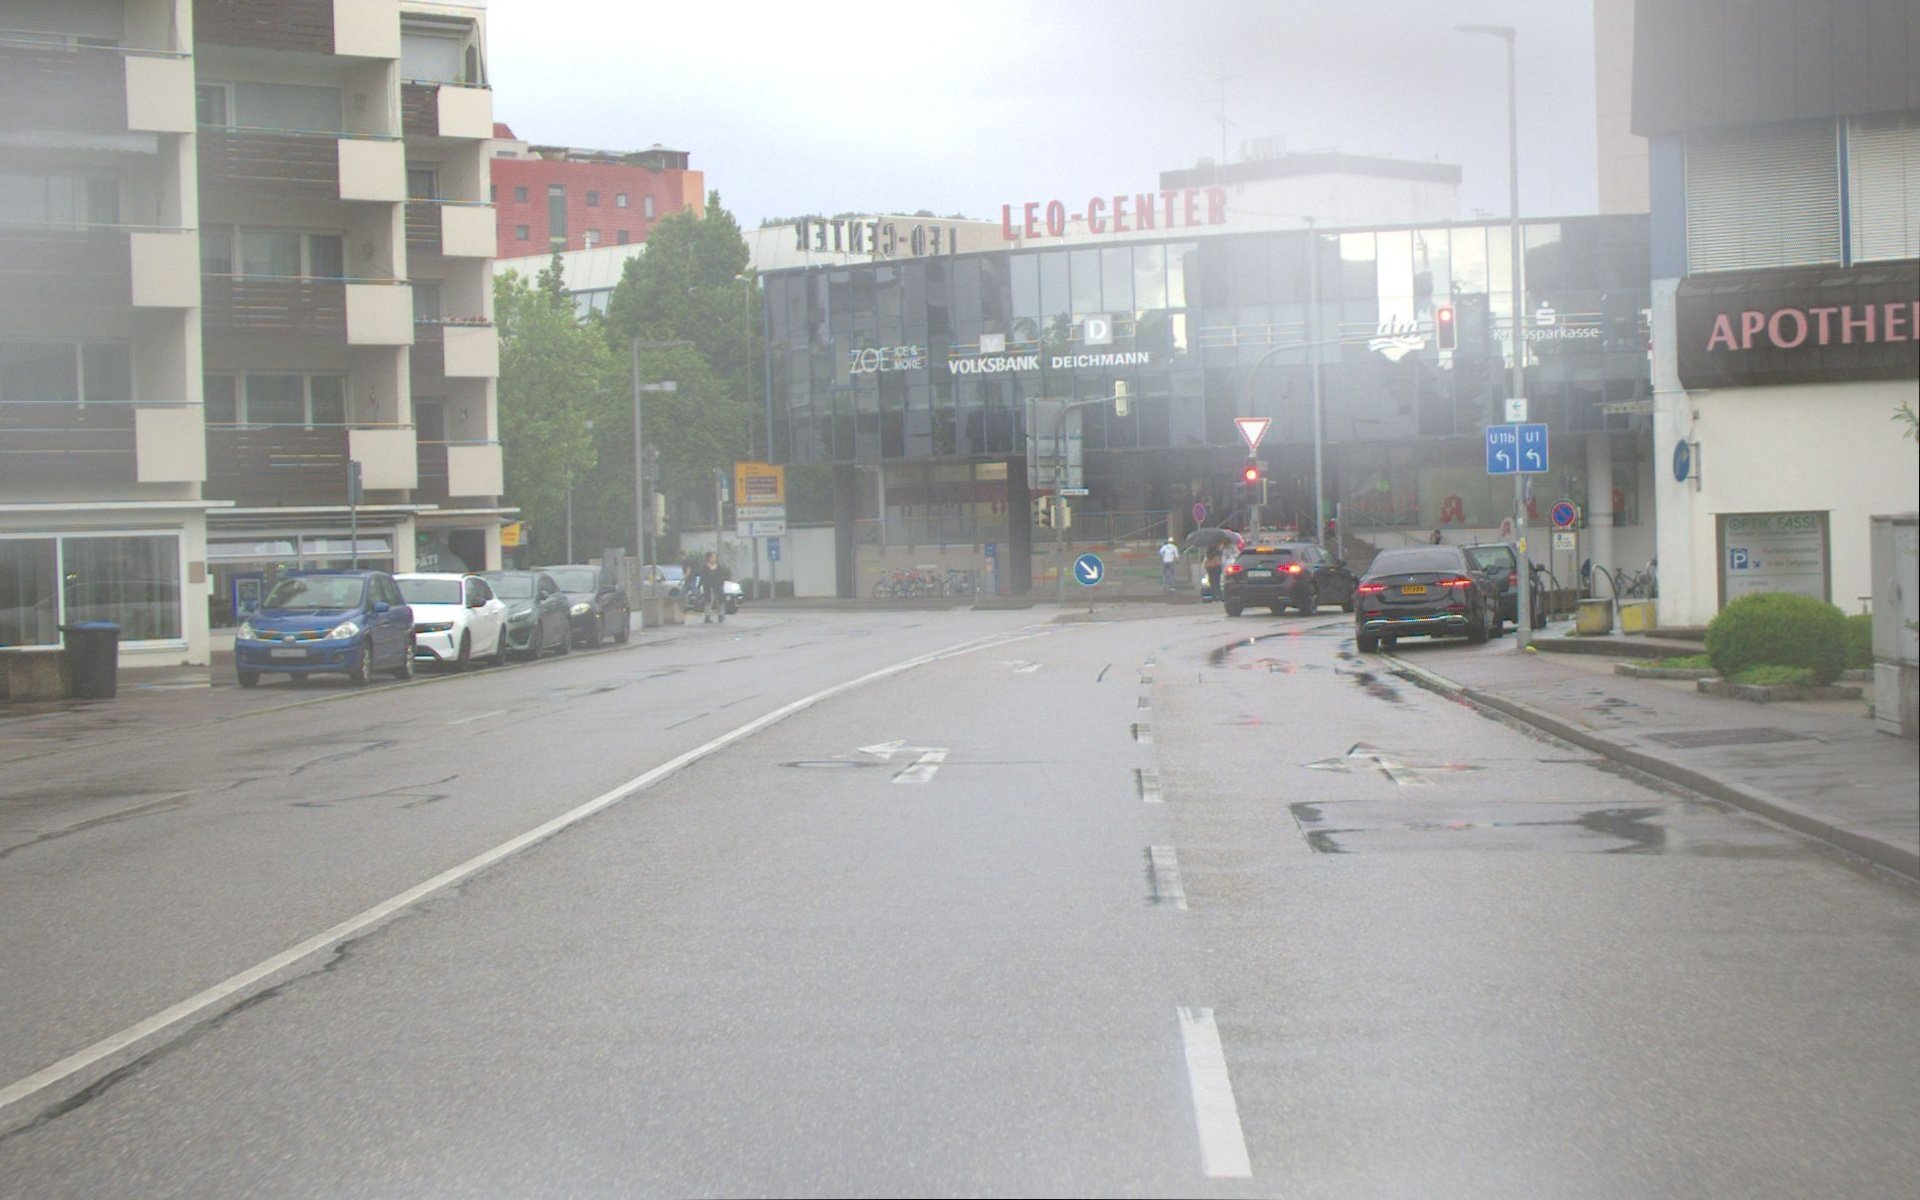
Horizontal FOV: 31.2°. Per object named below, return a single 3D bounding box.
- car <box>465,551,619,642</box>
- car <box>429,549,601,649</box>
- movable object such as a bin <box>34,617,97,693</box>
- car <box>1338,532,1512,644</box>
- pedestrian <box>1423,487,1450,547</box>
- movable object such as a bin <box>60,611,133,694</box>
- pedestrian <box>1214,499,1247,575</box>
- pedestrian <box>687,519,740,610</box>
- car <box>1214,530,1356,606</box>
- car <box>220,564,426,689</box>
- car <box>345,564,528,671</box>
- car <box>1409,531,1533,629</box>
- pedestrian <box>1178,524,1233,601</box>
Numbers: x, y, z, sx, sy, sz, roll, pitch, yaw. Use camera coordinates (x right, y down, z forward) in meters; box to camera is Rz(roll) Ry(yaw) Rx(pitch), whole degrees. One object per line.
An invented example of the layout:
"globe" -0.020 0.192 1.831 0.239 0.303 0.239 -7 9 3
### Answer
"car" -7.528 -0.088 62.235 1.935 1.536 4.272 -1 1 4
"car" -7.355 -0.045 57.231 1.935 1.536 4.520 -1 1 4
"movable object such as a bin" -11.058 0.678 42.511 0.574 0.900 0.598 -2 1 4
"car" 6.731 -0.160 49.427 1.995 1.528 4.644 0 0 14
"pedestrian" 16.179 -2.803 116.809 0.788 2.007 0.670 -2 1 14
"movable object such as a bin" -10.482 0.637 41.747 0.648 0.962 0.682 -2 1 4
"pedestrian" 6.059 -1.414 76.975 0.609 1.653 0.672 2 2 -1
"pedestrian" -5.565 -0.797 77.609 0.749 2.007 0.920 3 1 25
"car" 6.557 -0.656 68.989 1.806 1.414 3.996 -1 1 21
"car" -8.458 0.314 45.995 1.652 1.515 4.324 -1 1 4
"car" -7.840 0.227 51.867 1.693 1.459 4.683 -1 1 4
"car" 8.788 -0.361 58.943 1.699 1.481 3.998 -4 0 13
"pedestrian" 5.419 -0.824 75.979 0.908 1.653 0.755 1 2 -23
